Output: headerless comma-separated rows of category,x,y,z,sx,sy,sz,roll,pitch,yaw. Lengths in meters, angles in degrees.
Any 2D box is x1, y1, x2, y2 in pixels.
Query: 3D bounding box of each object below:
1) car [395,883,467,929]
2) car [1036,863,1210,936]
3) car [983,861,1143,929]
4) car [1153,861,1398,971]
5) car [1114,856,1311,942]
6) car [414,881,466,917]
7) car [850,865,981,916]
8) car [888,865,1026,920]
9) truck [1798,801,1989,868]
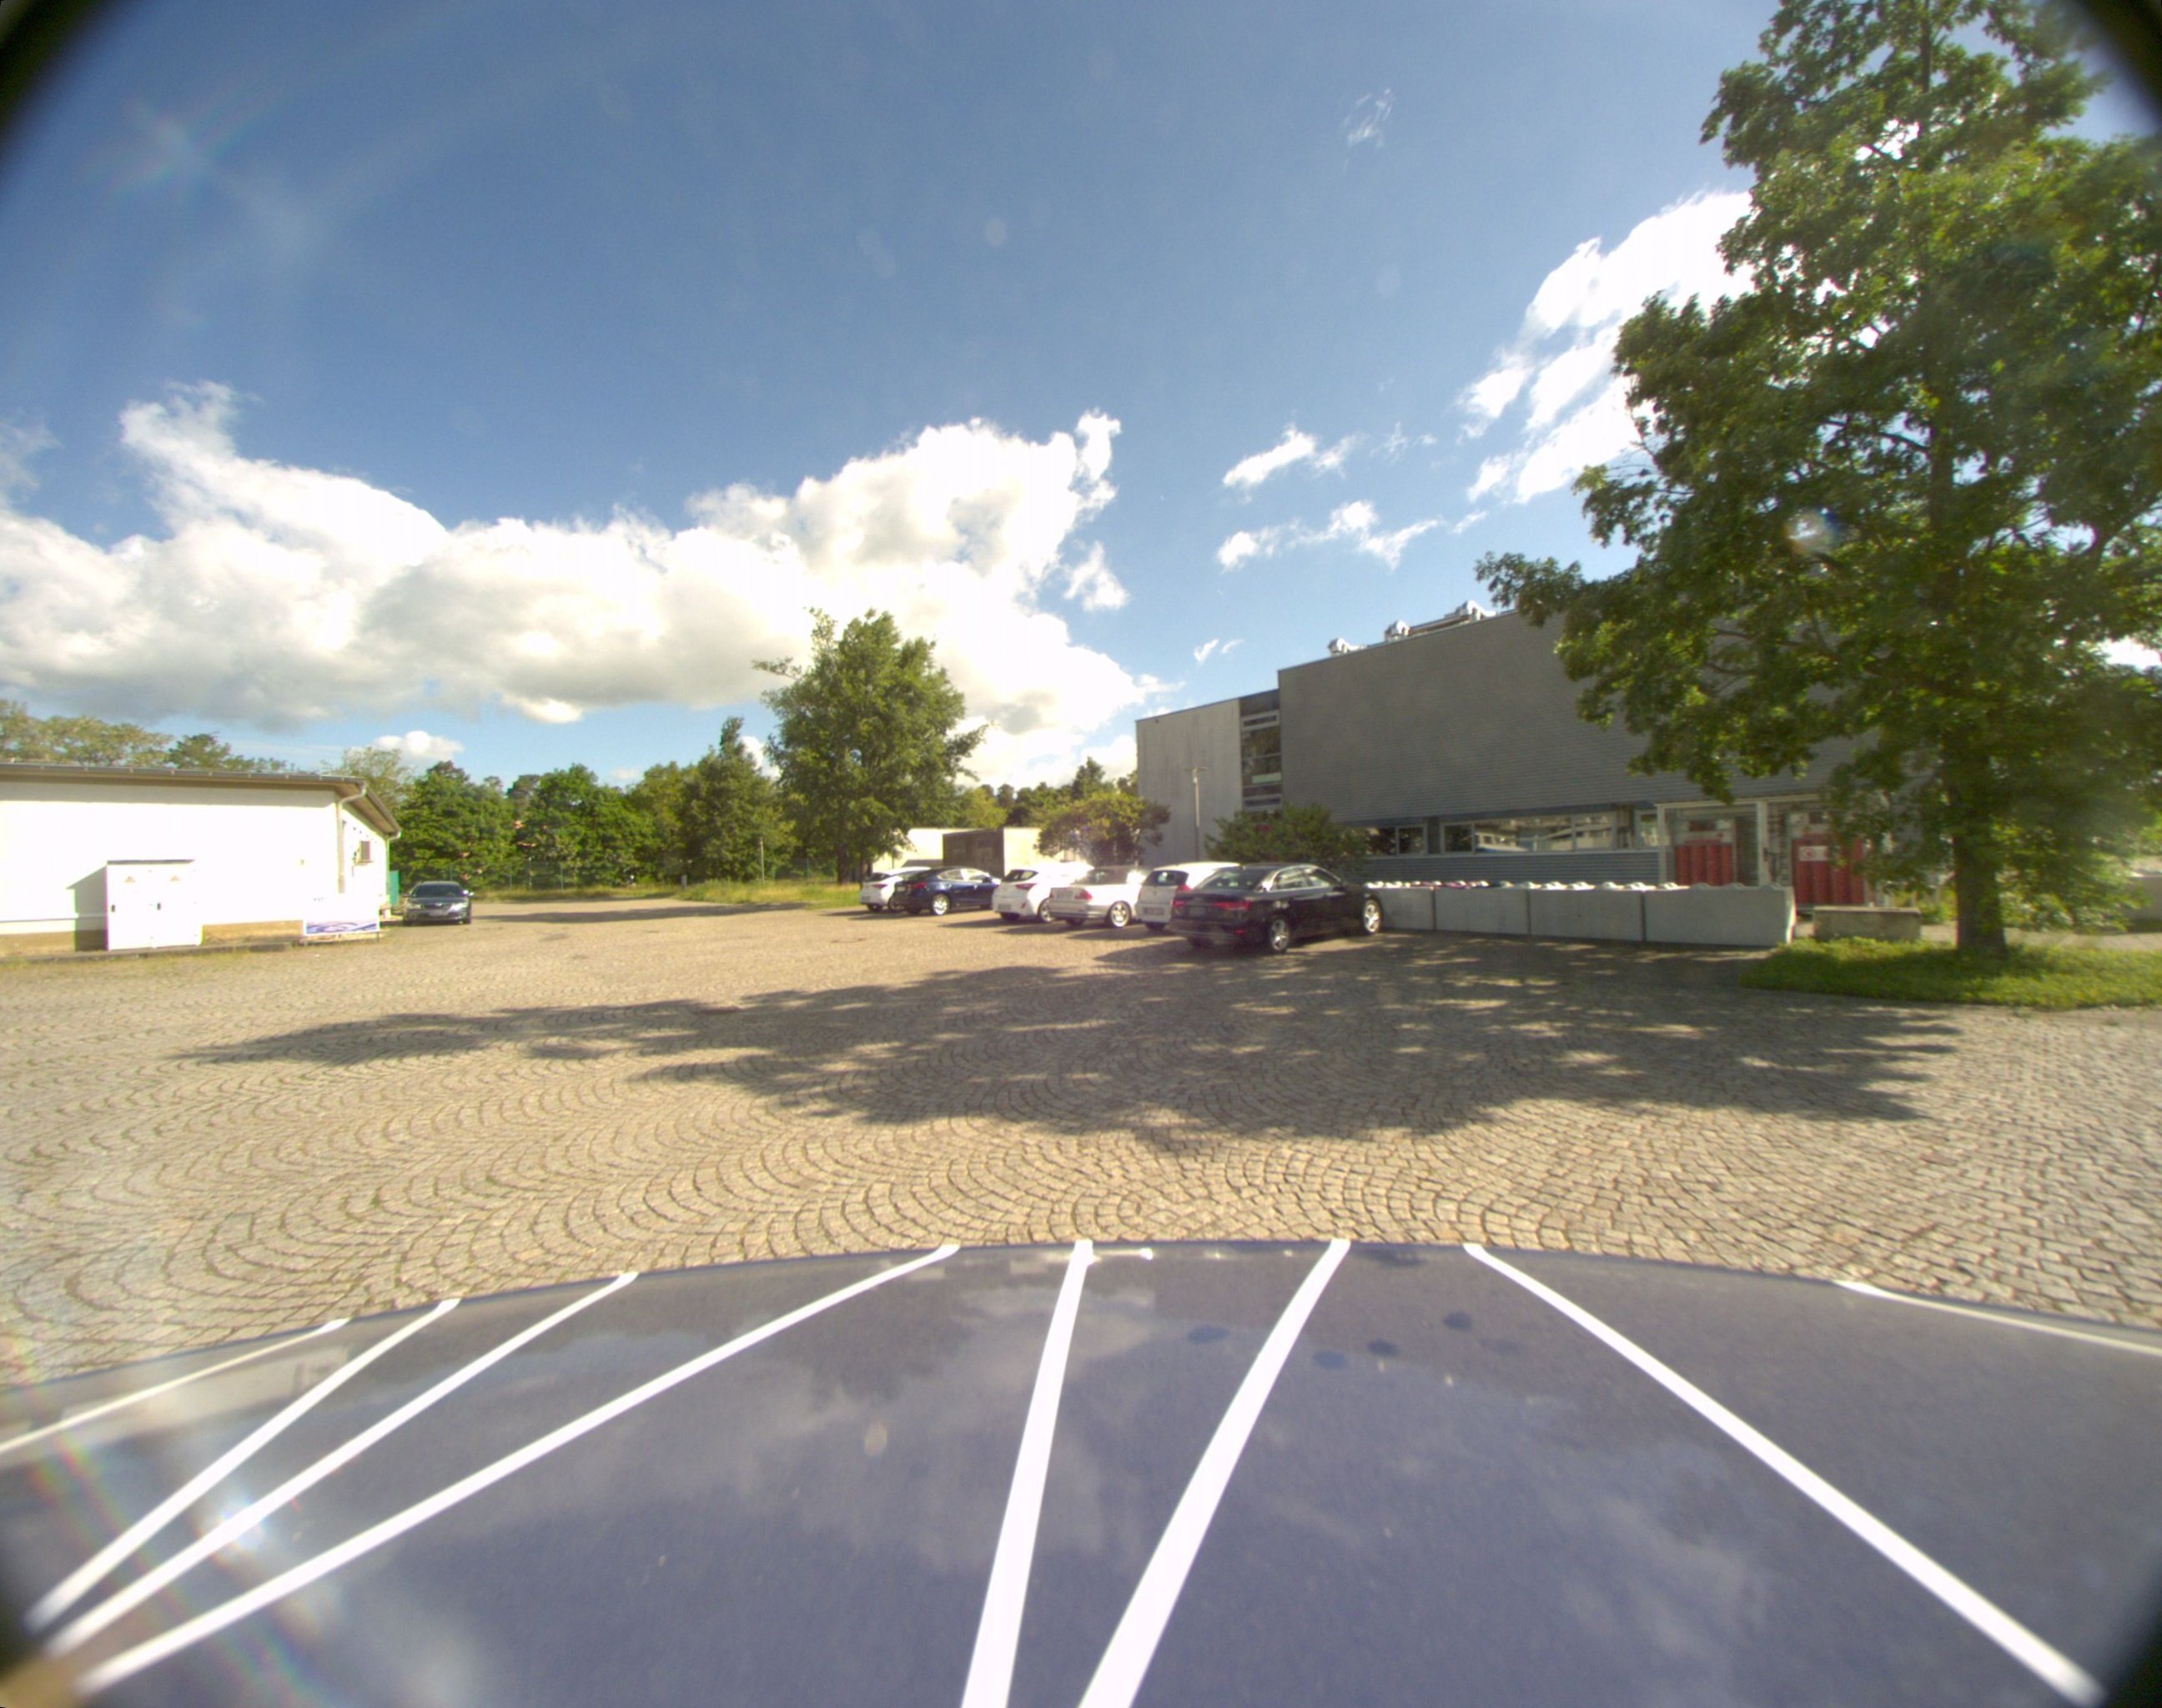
car,-22.681,1.757,26.613,1.773,1.427,3.981,-1,-1,-39
car,1.056,1.007,18.054,3.932,1.364,1.723,-3,1,-39
car,-0.425,1.014,20.127,3.932,1.438,1.751,-3,1,-39
car,3.583,0.954,13.462,4.742,1.415,1.752,-3,1,-41
car,2.908,0.890,16.443,4.158,1.451,1.687,-3,1,-35
car,-28.688,1.972,34.076,1.696,1.427,3.976,-1,-1,-39
car,-5.611,1.200,26.044,3.932,1.427,1.791,-3,1,-39
car,-3.866,1.151,24.052,3.932,1.409,1.688,-3,1,-39
truck,51.575,-1.113,48.494,2.655,3.795,8.082,-1,-1,-39
